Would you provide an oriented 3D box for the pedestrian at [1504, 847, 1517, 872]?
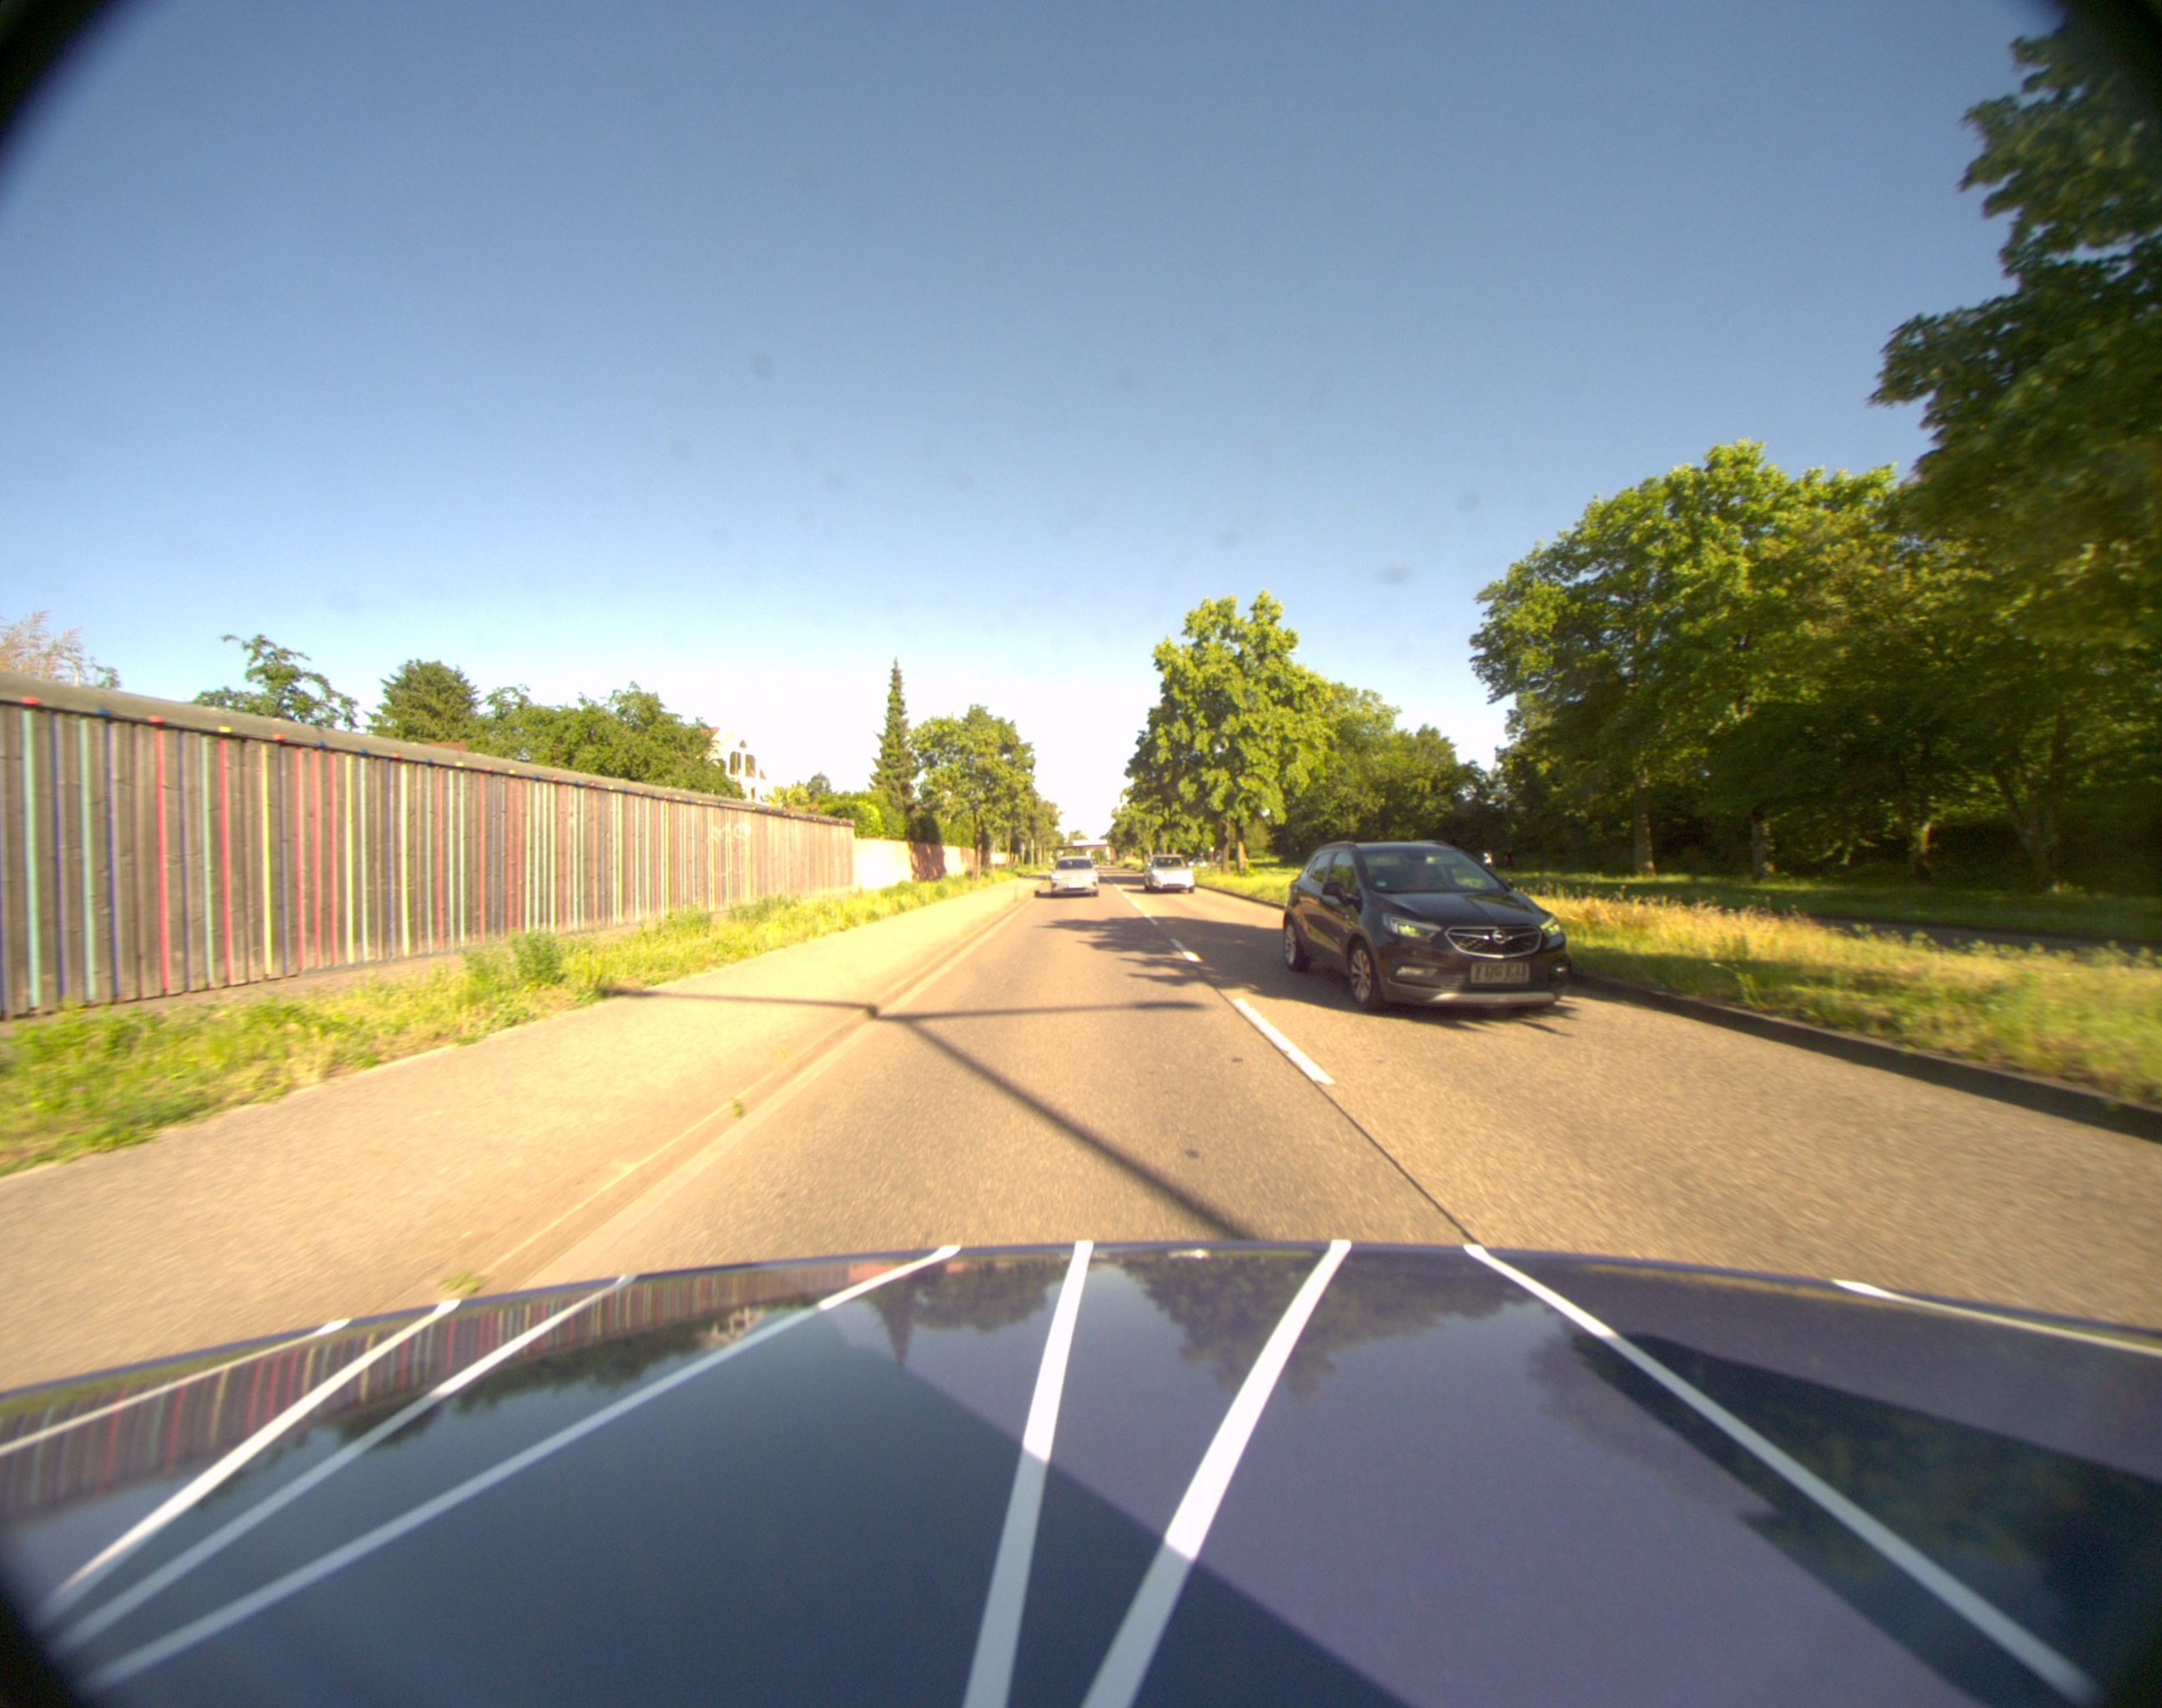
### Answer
[{"bbox_3d":[28.616,0.362,50.603,0.561,1.650,0.540,-2,1,5],"label":"pedestrian"}]

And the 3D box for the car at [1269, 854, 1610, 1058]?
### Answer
[{"bbox_3d":[3.422,0.821,8.316,1.700,1.622,4.417,0,0,1],"label":"car"}]

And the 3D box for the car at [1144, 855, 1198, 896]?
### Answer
[{"bbox_3d":[3.696,0.843,31.761,1.789,1.600,4.106,0,0,1],"label":"car"}]

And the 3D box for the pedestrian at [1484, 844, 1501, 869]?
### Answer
[{"bbox_3d":[27.499,0.176,50.808,0.683,1.650,0.679,-3,1,-2],"label":"pedestrian"}]

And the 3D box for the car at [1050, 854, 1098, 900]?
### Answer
[{"bbox_3d":[-0.238,0.879,30.746,1.766,1.606,4.297,-2,1,1],"label":"car"}]

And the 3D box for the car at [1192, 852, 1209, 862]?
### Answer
[{"bbox_3d":[17.015,0.407,108.011,1.730,1.448,4.346,1,0,0],"label":"car"}]
